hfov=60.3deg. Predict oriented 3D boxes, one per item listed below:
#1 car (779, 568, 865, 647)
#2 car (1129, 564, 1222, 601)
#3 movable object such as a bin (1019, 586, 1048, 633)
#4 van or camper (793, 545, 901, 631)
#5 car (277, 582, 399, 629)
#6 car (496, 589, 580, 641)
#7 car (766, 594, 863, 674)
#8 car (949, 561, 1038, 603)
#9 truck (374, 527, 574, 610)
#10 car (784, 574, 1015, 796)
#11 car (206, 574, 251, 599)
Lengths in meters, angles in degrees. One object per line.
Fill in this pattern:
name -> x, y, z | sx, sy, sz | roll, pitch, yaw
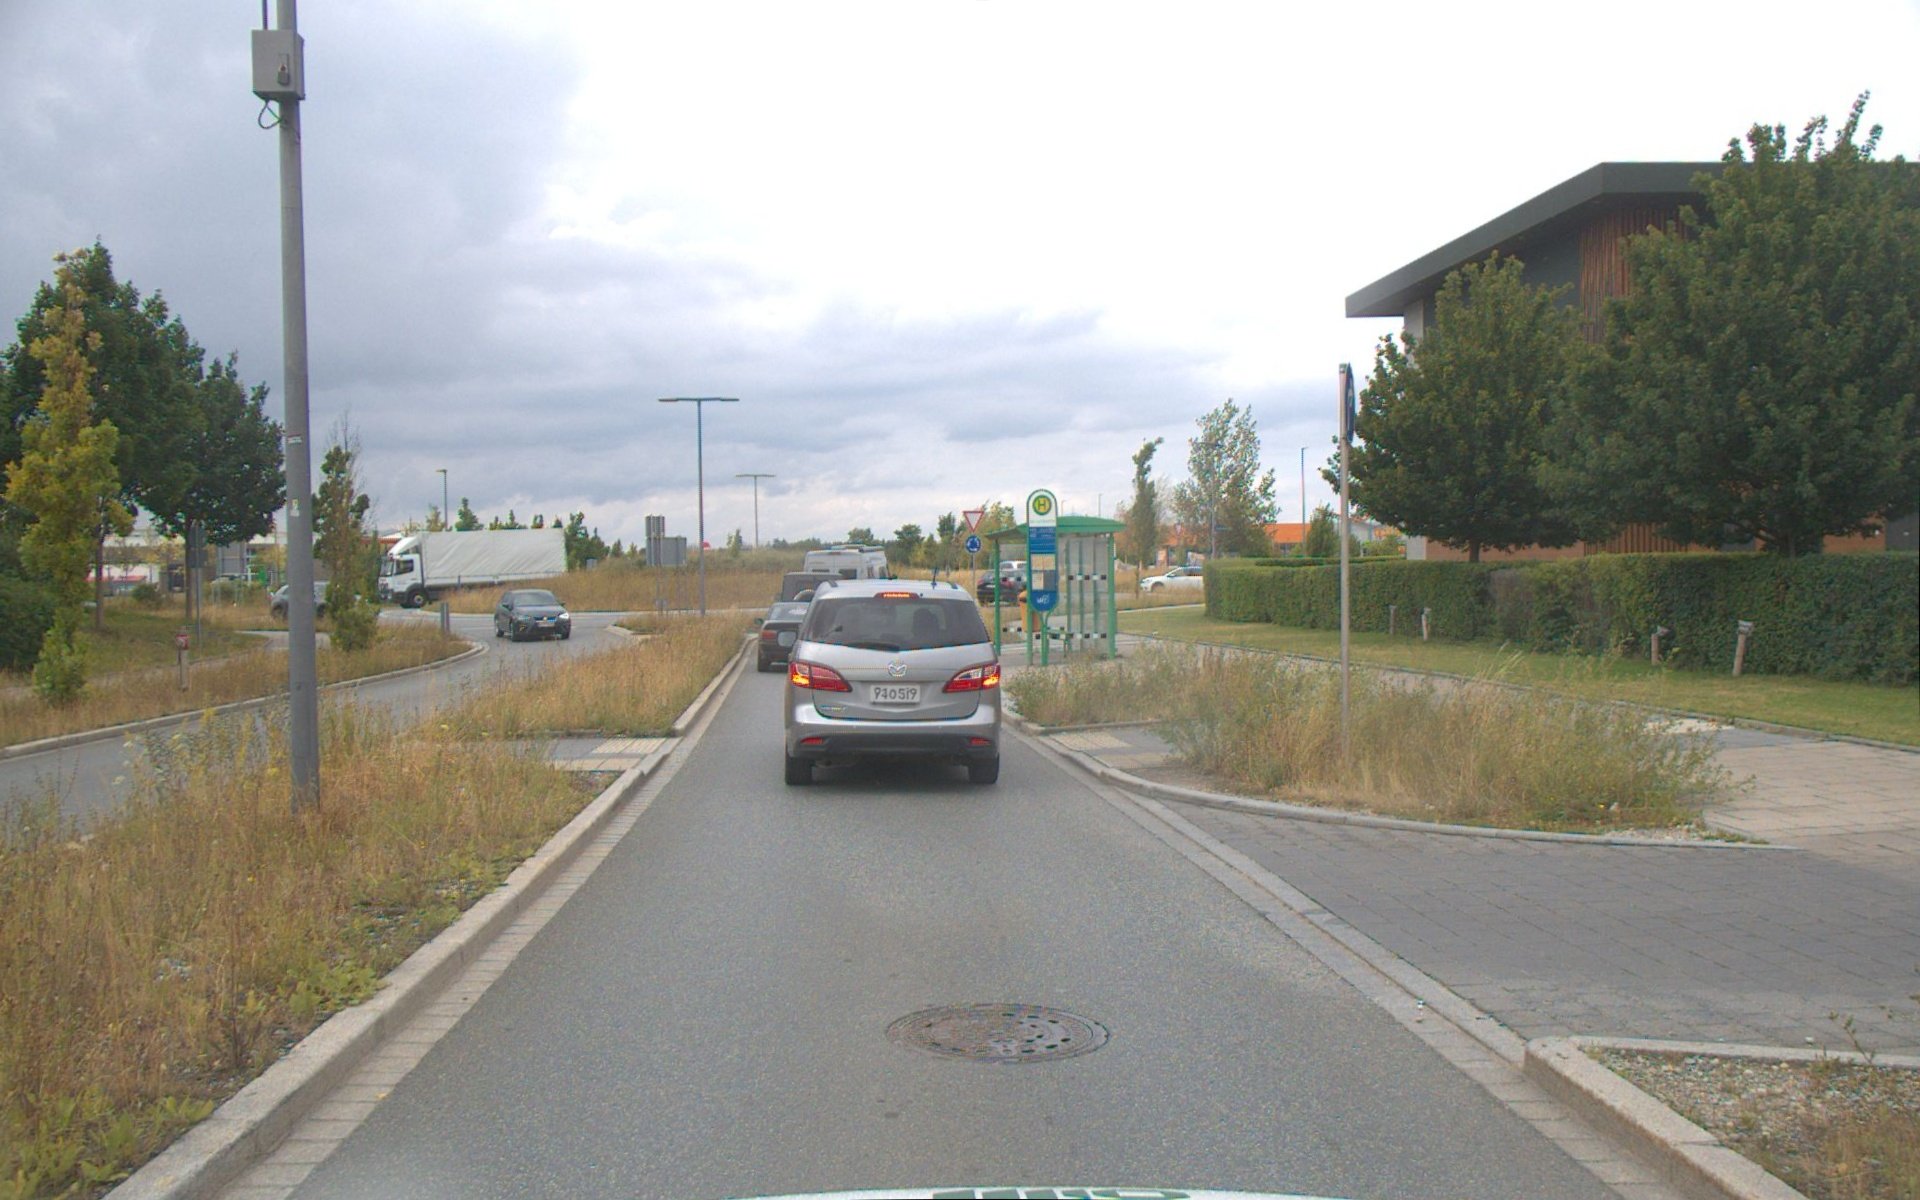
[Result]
car -> -3.421, 0.170, 41.750 | 2.017, 1.857, 4.783 | -1, 0, -3
car -> 10.712, -0.887, 82.600 | 4.505, 1.788, 2.001 | -1, 0, 5
movable object such as a bin -> 1.299, 0.171, 29.098 | 0.447, 0.812, 0.379 | -1, 0, -7
van or camper -> -3.472, -0.390, 51.908 | 2.253, 2.549, 5.210 | 0, 1, 9
car -> -23.859, 0.209, 63.455 | 4.106, 1.620, 2.064 | -1, 1, 25
car -> -12.864, 0.453, 50.267 | 1.817, 1.431, 3.970 | -3, 1, -24
car -> -2.905, 0.636, 33.546 | 1.808, 1.443, 4.221 | -1, 1, -4
car -> 1.349, -0.714, 64.574 | 1.954, 1.542, 3.997 | -1, 0, 26
truck -> -24.536, -1.613, 83.802 | 9.220, 3.975, 3.107 | -1, 0, -33
car -> -0.597, 0.598, 14.099 | 1.696, 1.628, 3.803 | 0, 1, -5
car -> -56.248, -1.064, 127.189 | 1.954, 1.892, 3.996 | 0, 1, -5
